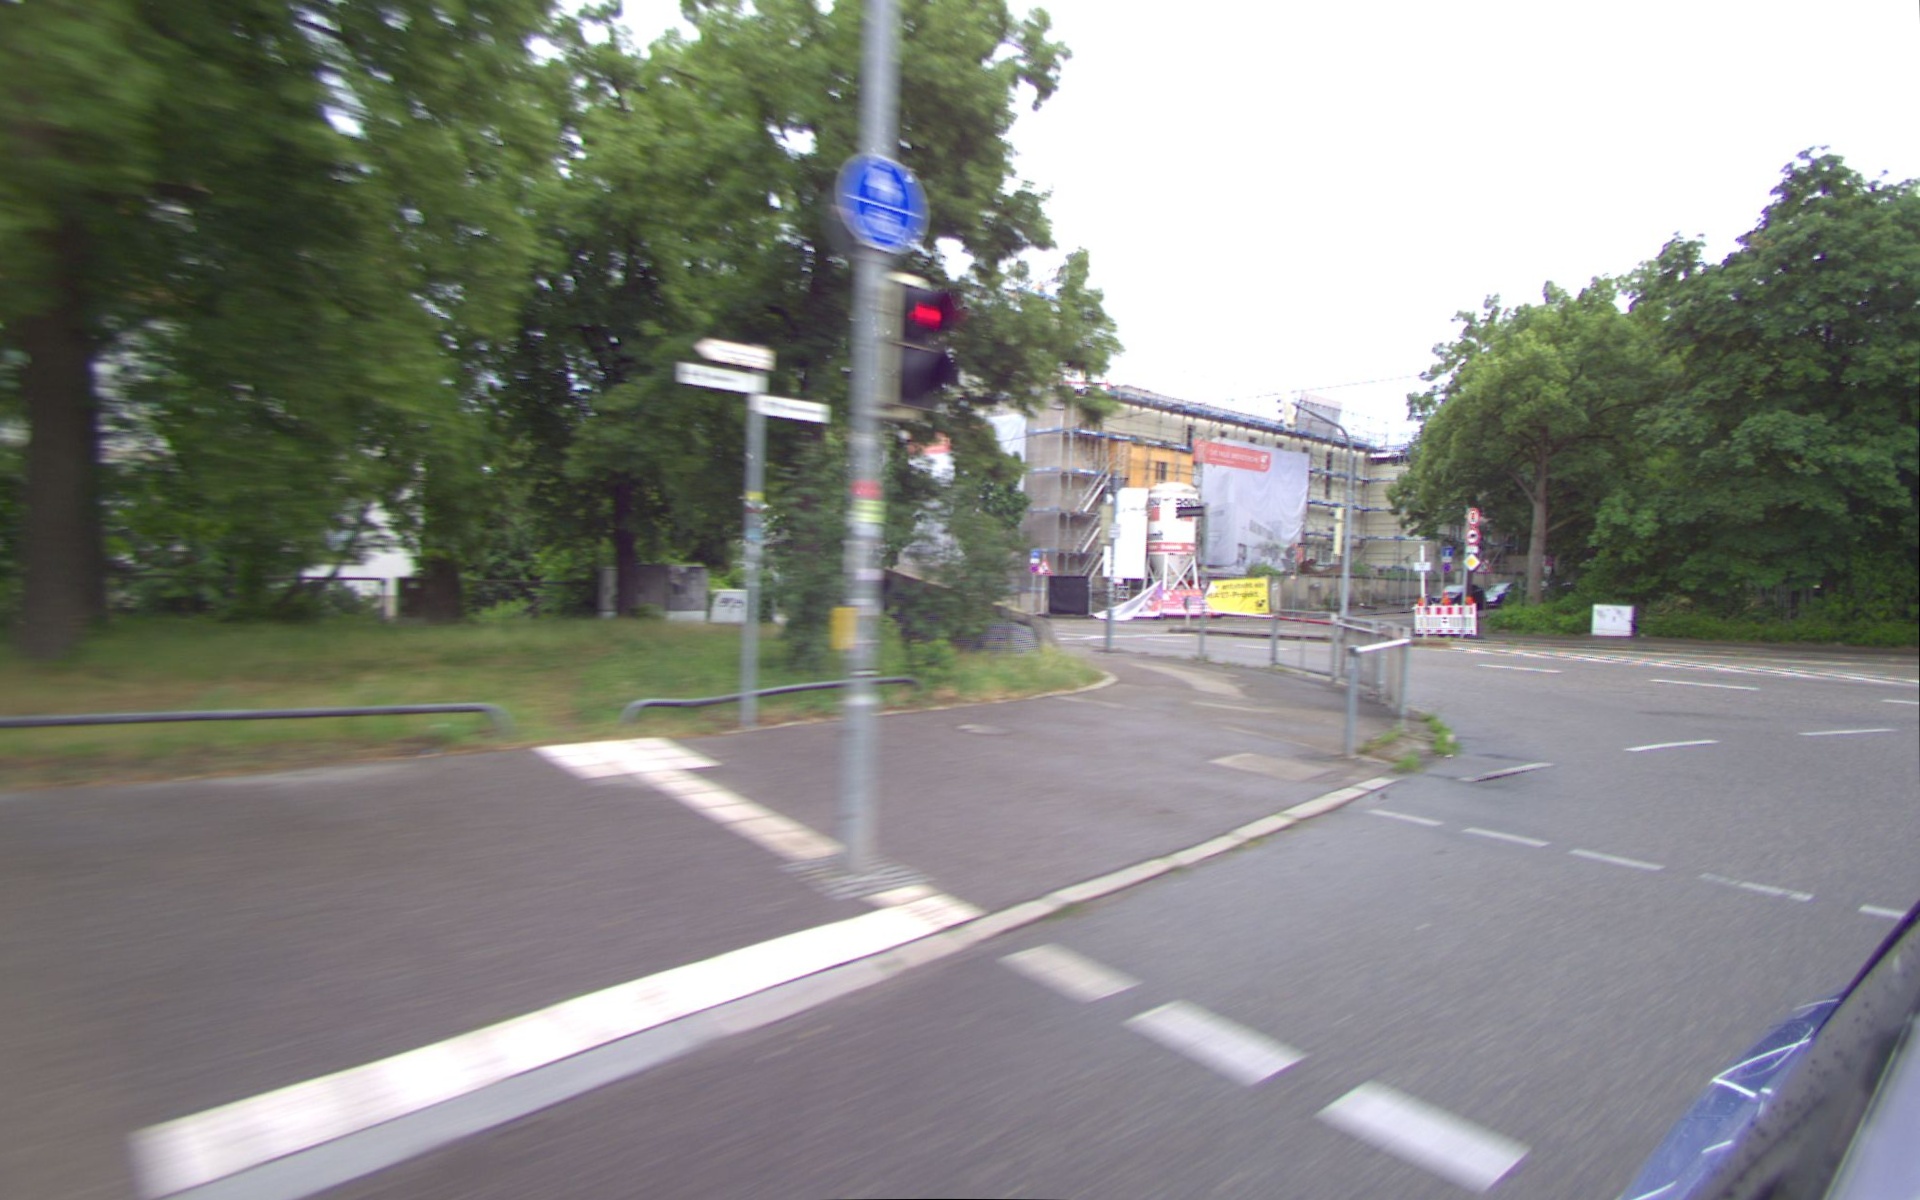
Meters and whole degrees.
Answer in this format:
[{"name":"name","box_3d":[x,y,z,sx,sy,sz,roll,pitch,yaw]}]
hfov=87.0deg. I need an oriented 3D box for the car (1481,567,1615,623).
[{"name":"car","box_3d":[22.744,-0.224,39.262,3.929,2.038,1.998,2,1,5]}]
